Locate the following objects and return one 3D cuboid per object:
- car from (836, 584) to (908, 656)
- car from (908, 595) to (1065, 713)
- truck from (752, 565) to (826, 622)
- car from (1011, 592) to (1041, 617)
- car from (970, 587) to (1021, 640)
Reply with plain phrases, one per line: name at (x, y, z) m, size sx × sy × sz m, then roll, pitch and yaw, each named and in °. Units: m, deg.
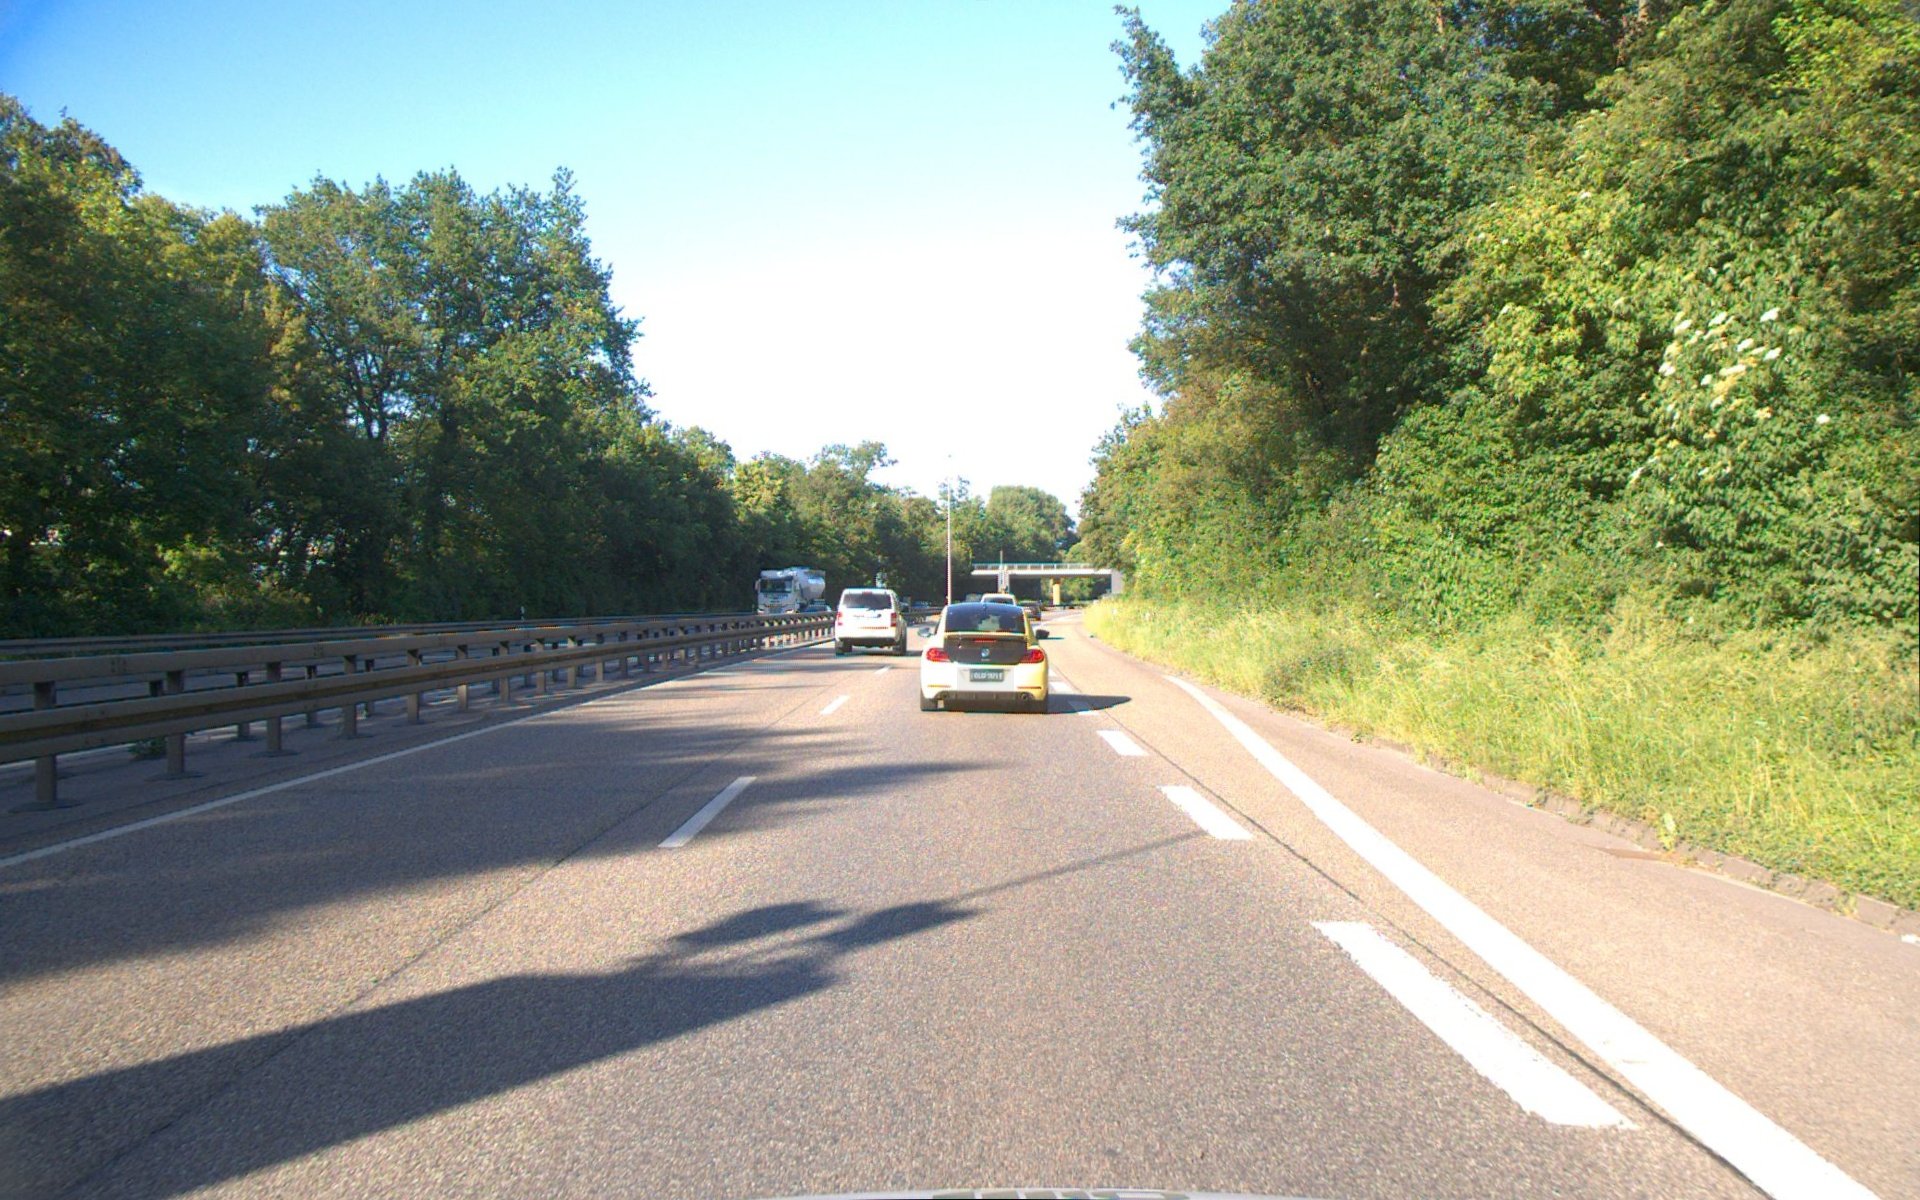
car at (-2.378, 0.532, 45.520) m, size 1.705 × 1.862 × 3.423 m, roll 1°, pitch 0°, yaw 1°
car at (0.296, 0.719, 23.511) m, size 1.901 × 1.534 × 3.419 m, roll 1°, pitch 0°, yaw -5°
truck at (-11.607, -0.468, 113.621) m, size 2.827 × 3.582 × 11.959 m, roll -2°, pitch 0°, yaw 5°
car at (5.194, 0.325, 130.693) m, size 2.216 × 1.908 × 5.077 m, roll -2°, pitch 0°, yaw 1°
car at (1.447, 0.523, 66.918) m, size 1.952 × 2.049 × 4.001 m, roll -2°, pitch 0°, yaw 2°
